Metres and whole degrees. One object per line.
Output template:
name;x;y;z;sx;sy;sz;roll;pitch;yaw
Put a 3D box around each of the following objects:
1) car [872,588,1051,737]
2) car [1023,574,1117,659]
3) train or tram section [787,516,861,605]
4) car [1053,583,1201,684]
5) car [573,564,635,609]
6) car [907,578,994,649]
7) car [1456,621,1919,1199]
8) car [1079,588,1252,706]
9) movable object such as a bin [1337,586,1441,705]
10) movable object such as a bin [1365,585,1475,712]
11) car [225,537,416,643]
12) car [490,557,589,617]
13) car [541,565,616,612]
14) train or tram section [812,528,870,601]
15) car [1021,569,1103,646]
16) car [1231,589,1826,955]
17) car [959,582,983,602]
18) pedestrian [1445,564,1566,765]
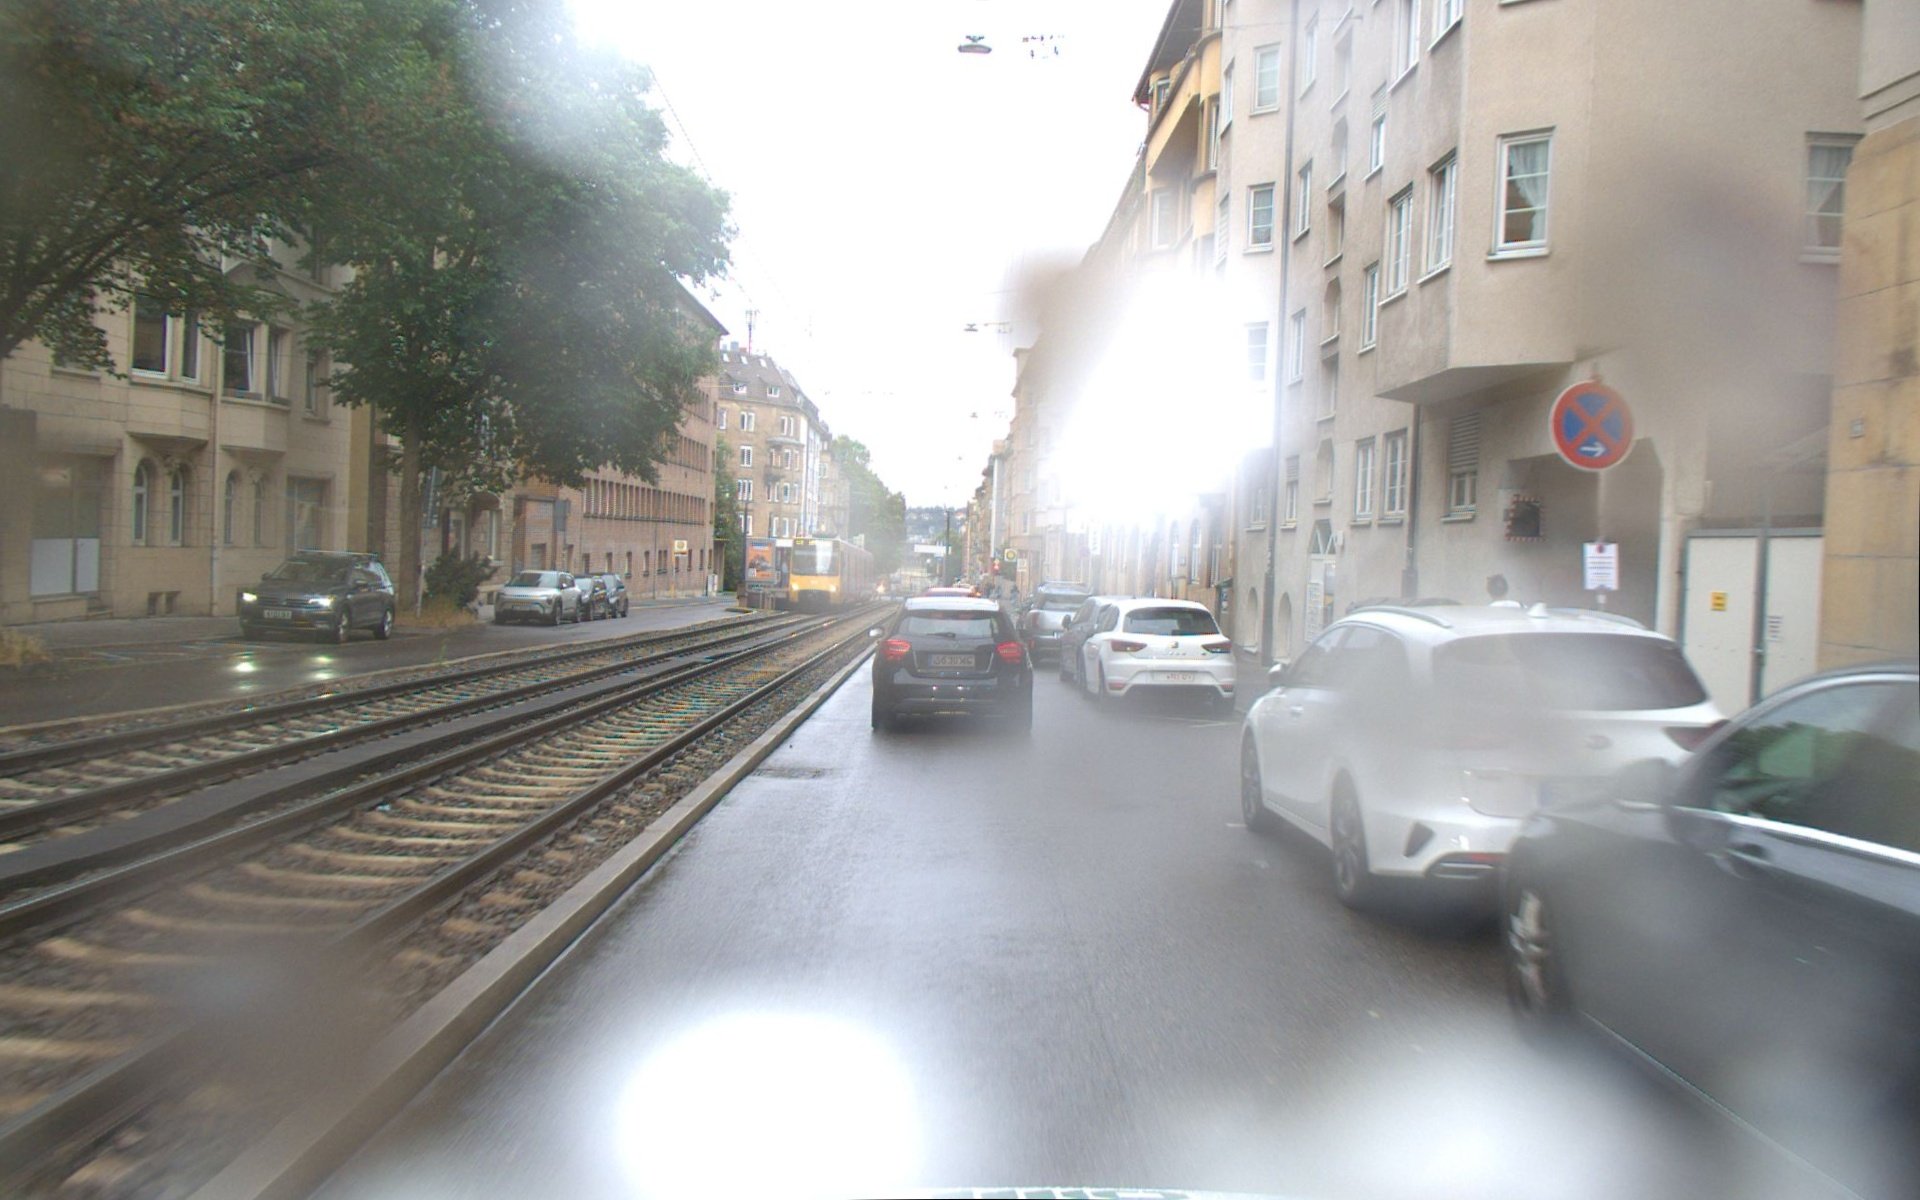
car;0.011;0.626;18.941;1.797;1.478;3.901;2;0;0
car;2.271;0.329;35.144;1.803;1.636;4.761;1;0;2
train or tram section;-6.918;-2.014;86.578;2.690;4.132;17.211;1;1;-1
car;2.653;0.504;27.225;1.795;1.493;4.373;1;0;-3
car;-12.617;-0.509;58.747;1.540;1.492;3.044;2;1;-2
car;-0.218;0.288;40.406;1.953;1.552;4.245;2;0;0
car;2.764;0.821;4.128;1.675;1.435;4.818;1;0;1
car;2.687;0.582;22.555;1.753;1.410;4.394;1;0;-1
movable object such as a bin;5.652;0.581;21.863;0.997;1.494;1.322;1;0;-1
movable object such as a bin;5.639;0.581;20.366;0.960;1.494;1.272;1;0;-1
car;-12.484;-0.229;32.659;1.914;1.772;4.778;5;1;-2
car;-12.632;-0.412;49.925;1.921;1.633;4.328;2;1;-1
car;-12.637;-0.417;54.983;1.633;1.440;3.687;2;1;-1
train or tram section;-7.234;-2.178;102.782;2.690;4.132;15.658;1;1;-1
car;2.489;0.170;41.204;1.742;1.780;4.548;1;0;0
car;2.775;0.721;9.312;1.677;1.493;4.773;1;0;0
car;0.901;-0.642;134.133;1.848;1.552;4.246;2;0;1
pedestrian;4.835;0.559;14.699;0.788;1.717;0.754;1;0;-1
